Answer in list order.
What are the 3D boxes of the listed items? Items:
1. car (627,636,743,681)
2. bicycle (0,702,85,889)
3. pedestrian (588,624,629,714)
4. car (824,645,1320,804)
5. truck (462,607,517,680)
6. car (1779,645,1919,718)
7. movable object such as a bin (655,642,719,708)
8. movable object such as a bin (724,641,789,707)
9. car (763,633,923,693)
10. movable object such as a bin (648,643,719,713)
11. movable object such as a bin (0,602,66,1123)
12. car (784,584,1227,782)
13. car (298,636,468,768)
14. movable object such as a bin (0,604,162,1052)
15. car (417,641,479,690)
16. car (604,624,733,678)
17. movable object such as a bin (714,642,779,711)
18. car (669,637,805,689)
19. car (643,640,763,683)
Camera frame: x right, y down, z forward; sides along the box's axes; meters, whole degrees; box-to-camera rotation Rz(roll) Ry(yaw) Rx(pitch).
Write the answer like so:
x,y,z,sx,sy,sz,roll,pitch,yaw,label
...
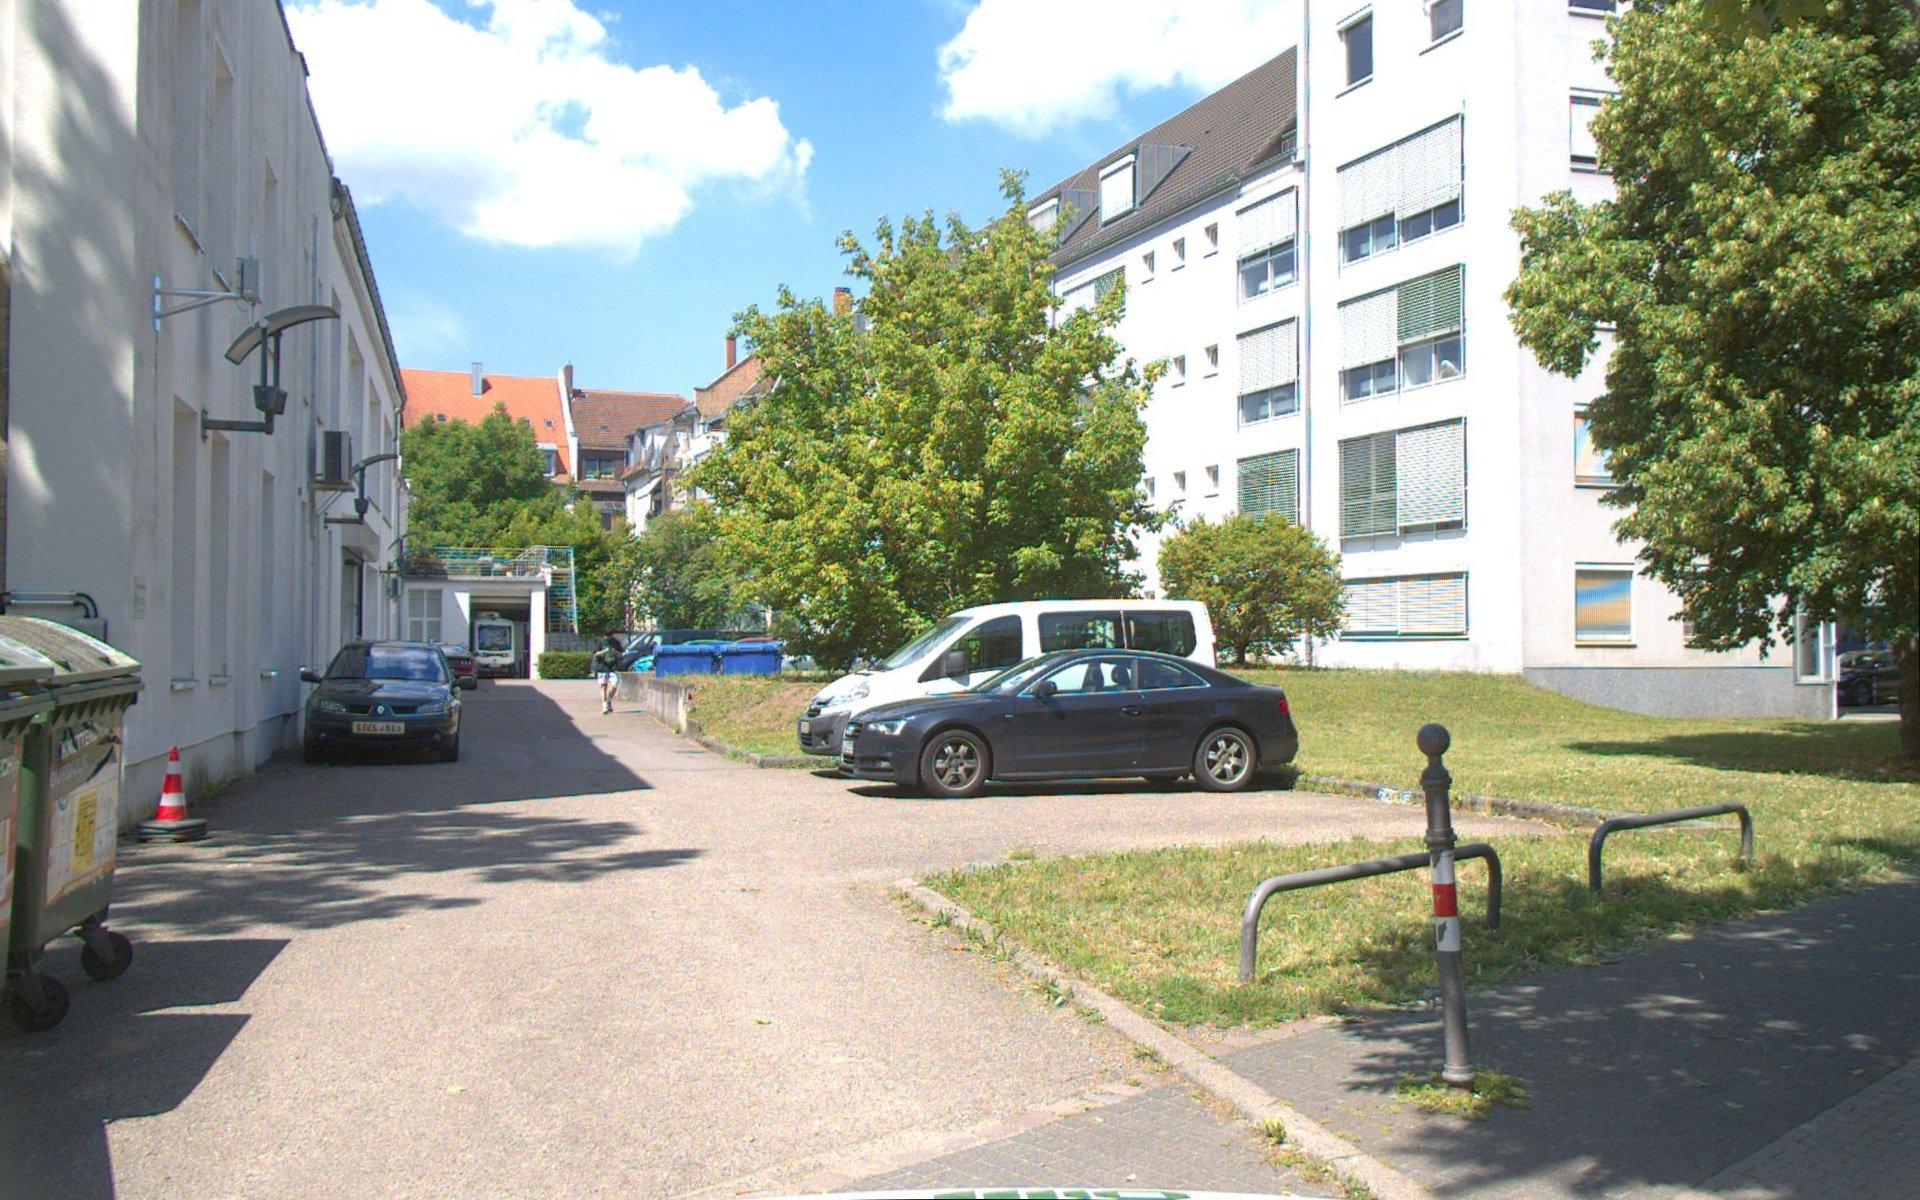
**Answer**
x,y,z,sx,sy,sz,roll,pitch,yaw,label
-10.027,2.098,60.264,3.926,1.561,1.795,0,-1,-19,car
-5.925,1.158,10.135,0.601,0.975,1.723,0,-1,-15,bicycle
-7.054,1.371,33.191,0.745,1.786,0.748,0,-1,-16,pedestrian
1.073,1.148,16.264,4.538,1.376,1.825,0,-1,-17,car
-19.888,1.835,69.755,1.763,2.989,4.622,1,-2,-22,truck
21.489,1.910,39.228,3.559,1.649,1.665,0,-1,-17,car
-5.796,1.582,35.058,1.174,1.350,1.154,0,-1,-19,movable object such as a bin
-4.368,1.570,35.444,1.197,1.350,1.154,0,-1,-19,movable object such as a bin
-3.104,1.637,43.746,3.926,1.504,1.795,0,-1,-19,car
-5.577,1.560,33.317,1.316,1.350,1.156,0,-1,-15,movable object such as a bin
-3.297,0.761,4.745,1.027,1.505,1.256,0,-1,-16,movable object such as a bin
0.478,0.905,18.852,4.684,2.049,1.990,0,-2,-17,car
-7.184,1.202,20.928,1.726,1.455,4.367,0,-1,-16,car
-3.684,0.782,6.180,1.027,1.505,1.403,0,-1,-16,movable object such as a bin
-15.847,1.998,51.241,1.770,1.415,3.980,0,-1,-17,car
-11.125,1.931,63.096,4.606,1.992,2.065,0,-1,-19,car
-4.365,1.550,33.719,1.196,1.350,1.156,0,-1,-15,movable object such as a bin
-6.901,1.932,51.212,3.926,1.504,1.795,0,-1,-19,car
-8.941,2.129,57.495,3.926,1.415,1.795,0,-1,-19,car
